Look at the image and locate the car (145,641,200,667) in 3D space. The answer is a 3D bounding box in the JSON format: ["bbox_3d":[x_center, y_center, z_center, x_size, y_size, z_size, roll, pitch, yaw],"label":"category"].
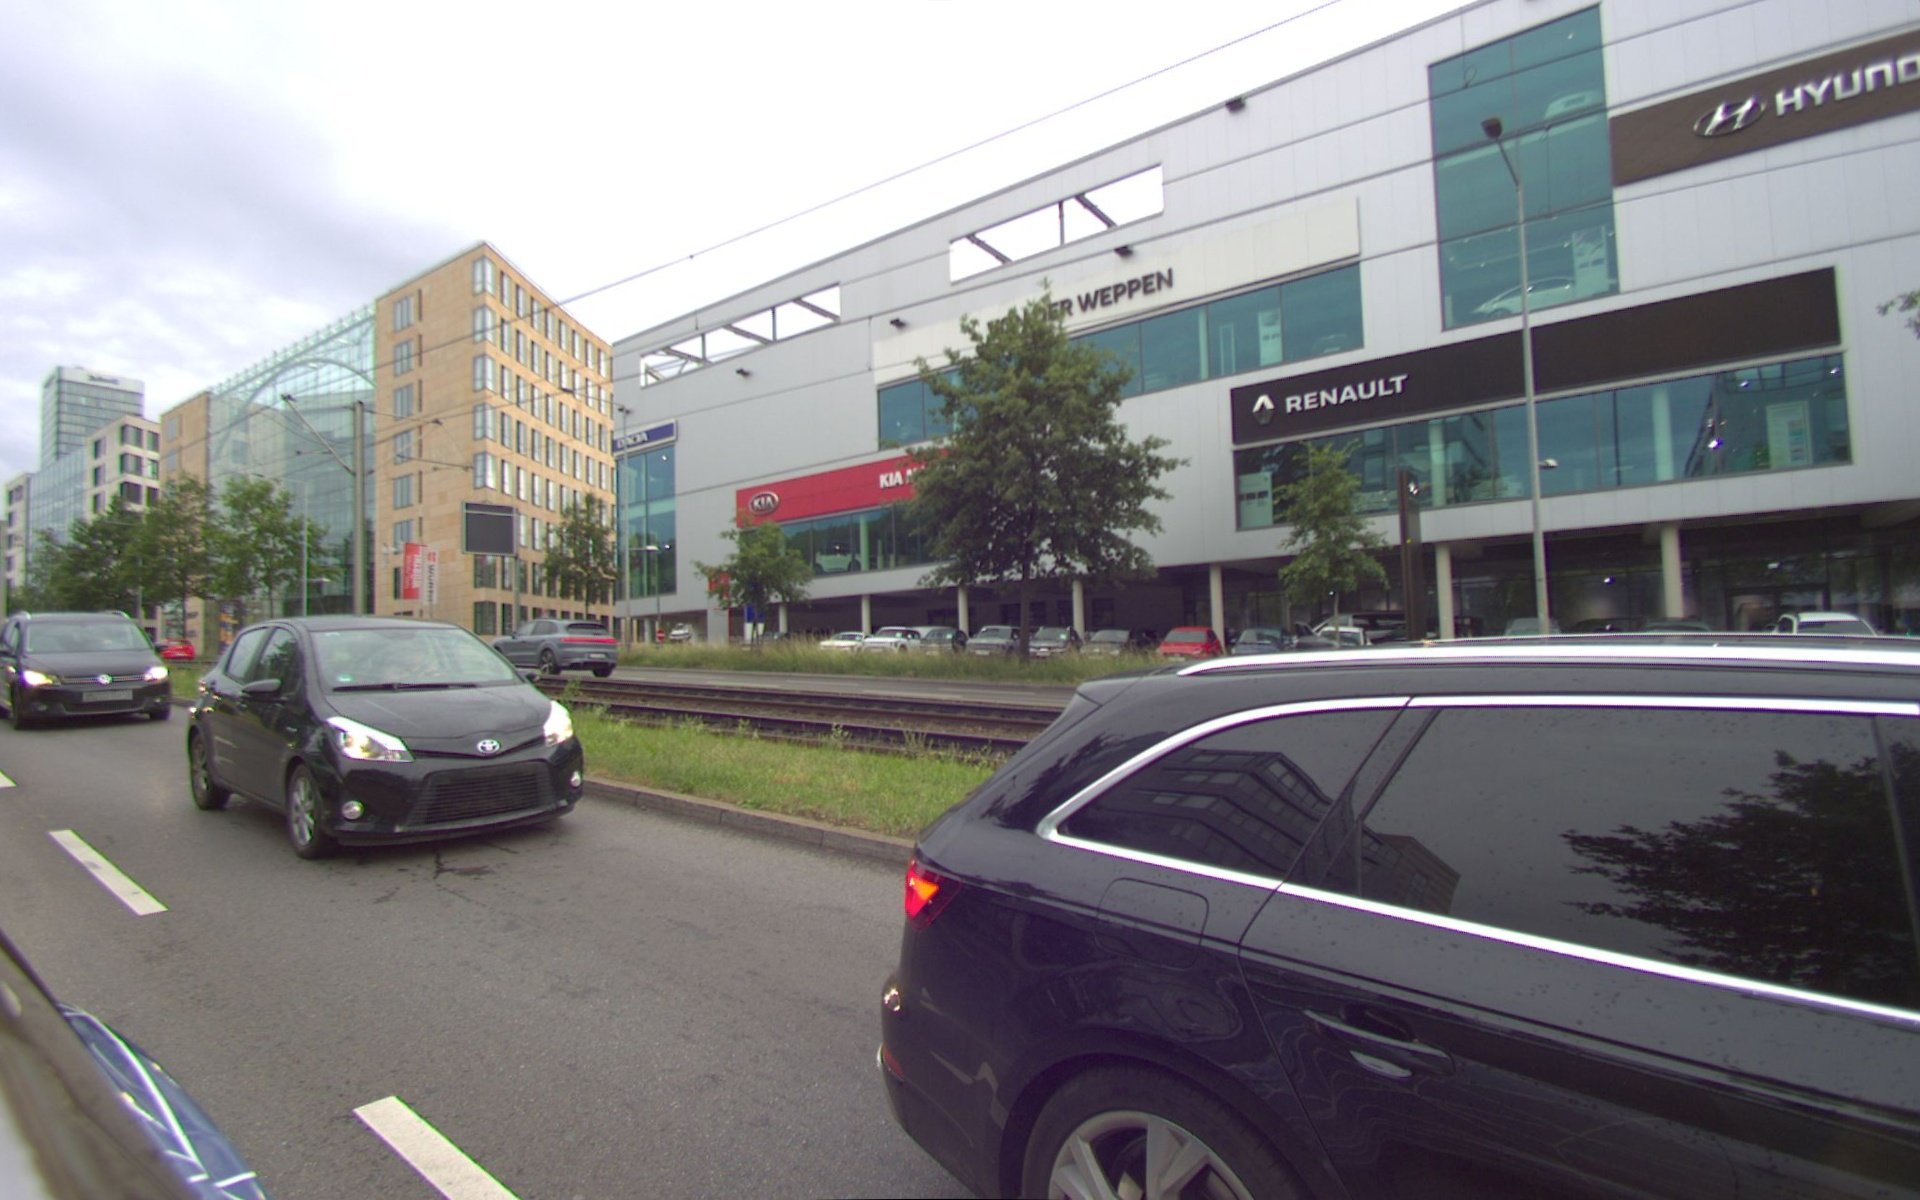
[{"bbox_3d":[-47.688,3.263,61.250,4.095,1.524,1.569,-1,-4,37],"label":"car"}]

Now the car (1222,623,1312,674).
[{"bbox_3d":[10.082,1.549,33.045,1.914,1.362,4.005,-1,1,30],"label":"car"}]

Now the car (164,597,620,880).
[{"bbox_3d":[-4.292,0.800,7.422,3.823,1.544,1.683,-1,-1,40],"label":"car"}]

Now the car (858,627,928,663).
[{"bbox_3d":[-2.788,1.881,42.966,1.685,1.304,3.643,-2,1,18],"label":"car"}]

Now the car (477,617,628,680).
[{"bbox_3d":[-12.192,1.428,30.185,4.833,1.733,1.975,-2,-4,37],"label":"car"}]

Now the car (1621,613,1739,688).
[{"bbox_3d":[18.063,1.203,25.588,1.992,1.562,4.331,-1,1,30],"label":"car"}]

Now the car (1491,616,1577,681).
[{"bbox_3d":[15.864,1.279,27.974,1.925,1.470,3.981,-1,1,30],"label":"car"}]

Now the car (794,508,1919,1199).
[{"bbox_3d":[1.896,0.637,1.488,4.511,1.478,1.762,-2,-2,41],"label":"car"}]

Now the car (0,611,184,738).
[{"bbox_3d":[-13.358,1.020,15.284,4.315,1.619,1.763,-2,0,41],"label":"car"}]

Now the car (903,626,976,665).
[{"bbox_3d":[-0.781,1.824,41.035,1.688,1.362,3.499,-2,1,23],"label":"car"}]

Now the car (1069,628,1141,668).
[{"bbox_3d":[5.252,1.695,36.327,1.688,1.190,3.498,-2,1,24],"label":"car"}]

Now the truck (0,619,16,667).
[{"bbox_3d":[-89.166,3.867,92.367,7.017,4.276,3.106,-2,-4,38],"label":"truck"}]

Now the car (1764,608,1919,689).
[{"bbox_3d":[20.601,1.055,23.812,1.992,1.562,4.331,-1,1,30],"label":"car"}]

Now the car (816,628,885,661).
[{"bbox_3d":[-4.779,1.951,44.642,1.685,1.196,3.643,-2,1,18],"label":"car"}]

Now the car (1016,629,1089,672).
[{"bbox_3d":[3.505,1.848,37.787,1.688,1.362,3.498,-2,1,24],"label":"car"}]

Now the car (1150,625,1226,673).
[{"bbox_3d":[7.819,1.624,34.449,1.789,1.362,3.903,-2,1,24],"label":"car"}]

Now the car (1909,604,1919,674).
[{"bbox_3d":[22.840,0.955,22.191,1.992,1.627,4.331,-1,1,30],"label":"car"}]

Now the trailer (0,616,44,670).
[{"bbox_3d":[-83.607,3.733,88.149,13.260,4.363,3.104,-2,-4,38],"label":"trailer"}]

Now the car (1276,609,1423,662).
[{"bbox_3d":[13.963,1.263,36.501,4.488,1.796,1.997,-1,-1,5],"label":"car"}]

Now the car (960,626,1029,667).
[{"bbox_3d":[1.406,1.803,39.708,1.686,1.362,3.503,-2,1,20],"label":"car"}]

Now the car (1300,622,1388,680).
[{"bbox_3d":[11.956,1.524,31.349,1.914,1.470,4.005,-1,1,30],"label":"car"}]
